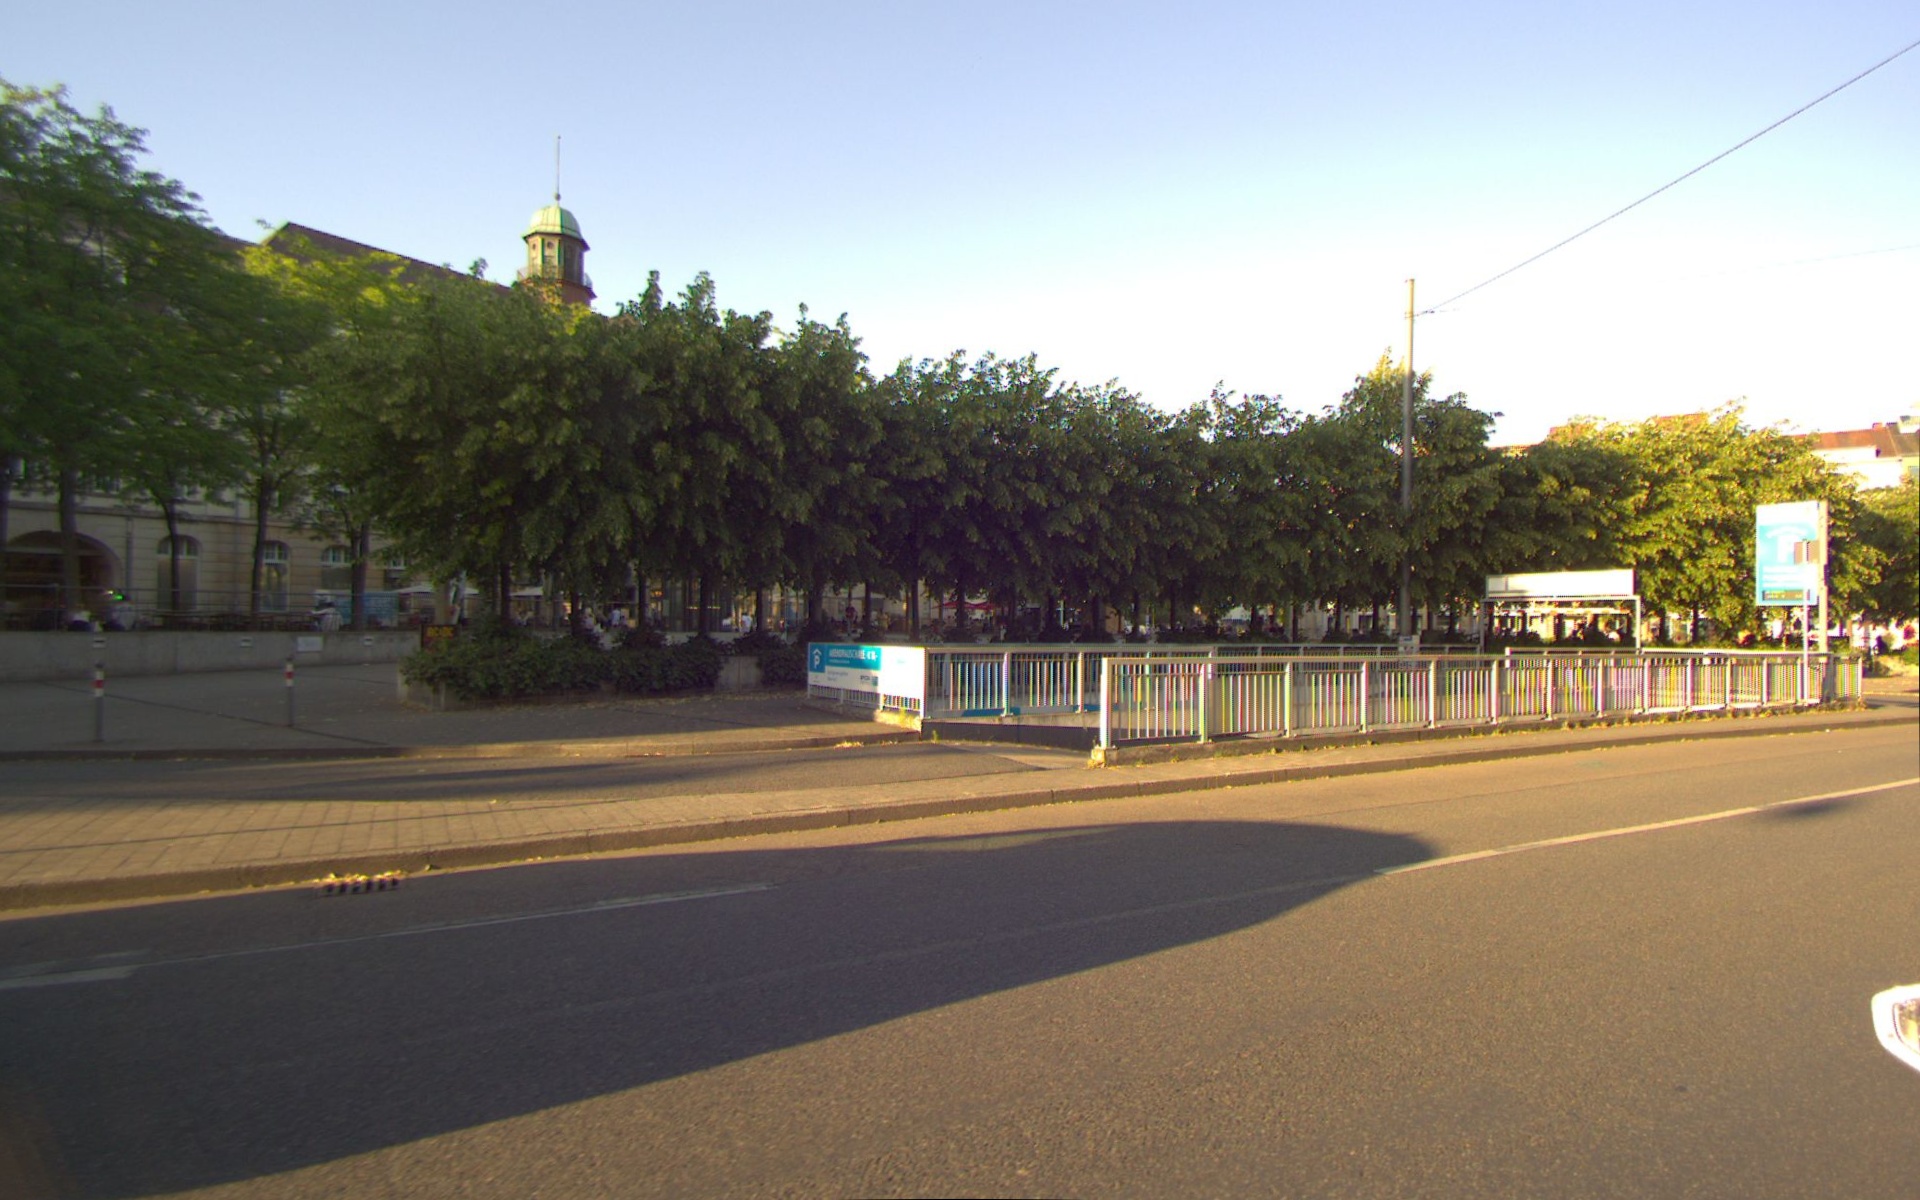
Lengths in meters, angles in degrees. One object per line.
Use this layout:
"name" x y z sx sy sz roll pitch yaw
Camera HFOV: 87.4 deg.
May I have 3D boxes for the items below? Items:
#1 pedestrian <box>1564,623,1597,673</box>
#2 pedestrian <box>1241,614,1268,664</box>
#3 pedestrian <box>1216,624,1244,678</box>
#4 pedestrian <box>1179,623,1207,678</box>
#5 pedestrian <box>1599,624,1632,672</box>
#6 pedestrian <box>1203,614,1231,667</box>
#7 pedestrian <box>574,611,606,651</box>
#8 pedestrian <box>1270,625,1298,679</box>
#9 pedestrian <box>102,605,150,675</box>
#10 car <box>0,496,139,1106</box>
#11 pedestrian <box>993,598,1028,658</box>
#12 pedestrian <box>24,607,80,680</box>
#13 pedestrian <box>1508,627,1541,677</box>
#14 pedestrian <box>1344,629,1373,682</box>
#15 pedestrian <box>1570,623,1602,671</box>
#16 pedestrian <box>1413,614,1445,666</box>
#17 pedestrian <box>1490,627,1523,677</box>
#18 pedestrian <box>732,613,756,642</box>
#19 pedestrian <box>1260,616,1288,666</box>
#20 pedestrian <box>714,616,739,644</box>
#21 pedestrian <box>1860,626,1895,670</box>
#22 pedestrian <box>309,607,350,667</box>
"pedestrian" 20.759 1.598 33.617 0.558 1.616 0.791 1 0 -10
"pedestrian" 9.792 1.291 33.454 0.558 1.616 0.791 1 0 -10
"pedestrian" 8.234 1.540 30.653 0.558 1.616 0.678 1 0 -10
"pedestrian" 6.994 1.506 30.166 0.558 1.616 0.678 1 0 -10
"pedestrian" 22.621 1.643 34.677 0.558 1.616 0.791 1 0 -10
"pedestrian" 8.023 1.263 31.421 0.558 1.616 0.791 1 0 -10
"pedestrian" -12.481 1.046 33.844 0.778 1.296 0.652 0 -3 35
"pedestrian" 9.926 1.593 30.816 0.558 1.616 0.678 1 0 -10
"pedestrian" -19.670 0.942 23.687 0.612 1.607 0.699 0 -3 37
"car" -5.067 0.566 2.723 4.375 1.784 2.001 0 -1 10
"pedestrian" 1.379 0.750 27.456 0.693 1.616 0.673 0 0 42
"pedestrian" -20.495 0.975 22.675 0.679 1.607 0.767 0 -3 37
"pedestrian" 18.709 1.727 33.272 0.665 1.616 0.678 1 0 -10
"pedestrian" 12.509 1.731 31.561 0.558 1.616 0.678 1 0 -10
"pedestrian" 21.458 1.595 34.438 0.558 1.616 0.791 1 0 -10
"pedestrian" 14.993 1.270 32.124 0.665 1.616 0.678 1 0 -10
"pedestrian" 18.042 1.724 33.149 0.665 1.616 0.678 1 0 -10
"pedestrian" -8.399 1.068 39.021 0.703 1.134 0.609 0 -1 35
"pedestrian" 10.157 1.317 32.493 0.558 1.616 0.791 1 0 -10
"pedestrian" -8.916 1.146 38.357 0.703 1.073 0.609 0 -1 35
"pedestrian" 34.680 1.818 37.956 0.558 1.616 0.791 1 0 -10
"pedestrian" -17.055 1.001 27.179 0.778 1.607 0.652 0 -3 35
